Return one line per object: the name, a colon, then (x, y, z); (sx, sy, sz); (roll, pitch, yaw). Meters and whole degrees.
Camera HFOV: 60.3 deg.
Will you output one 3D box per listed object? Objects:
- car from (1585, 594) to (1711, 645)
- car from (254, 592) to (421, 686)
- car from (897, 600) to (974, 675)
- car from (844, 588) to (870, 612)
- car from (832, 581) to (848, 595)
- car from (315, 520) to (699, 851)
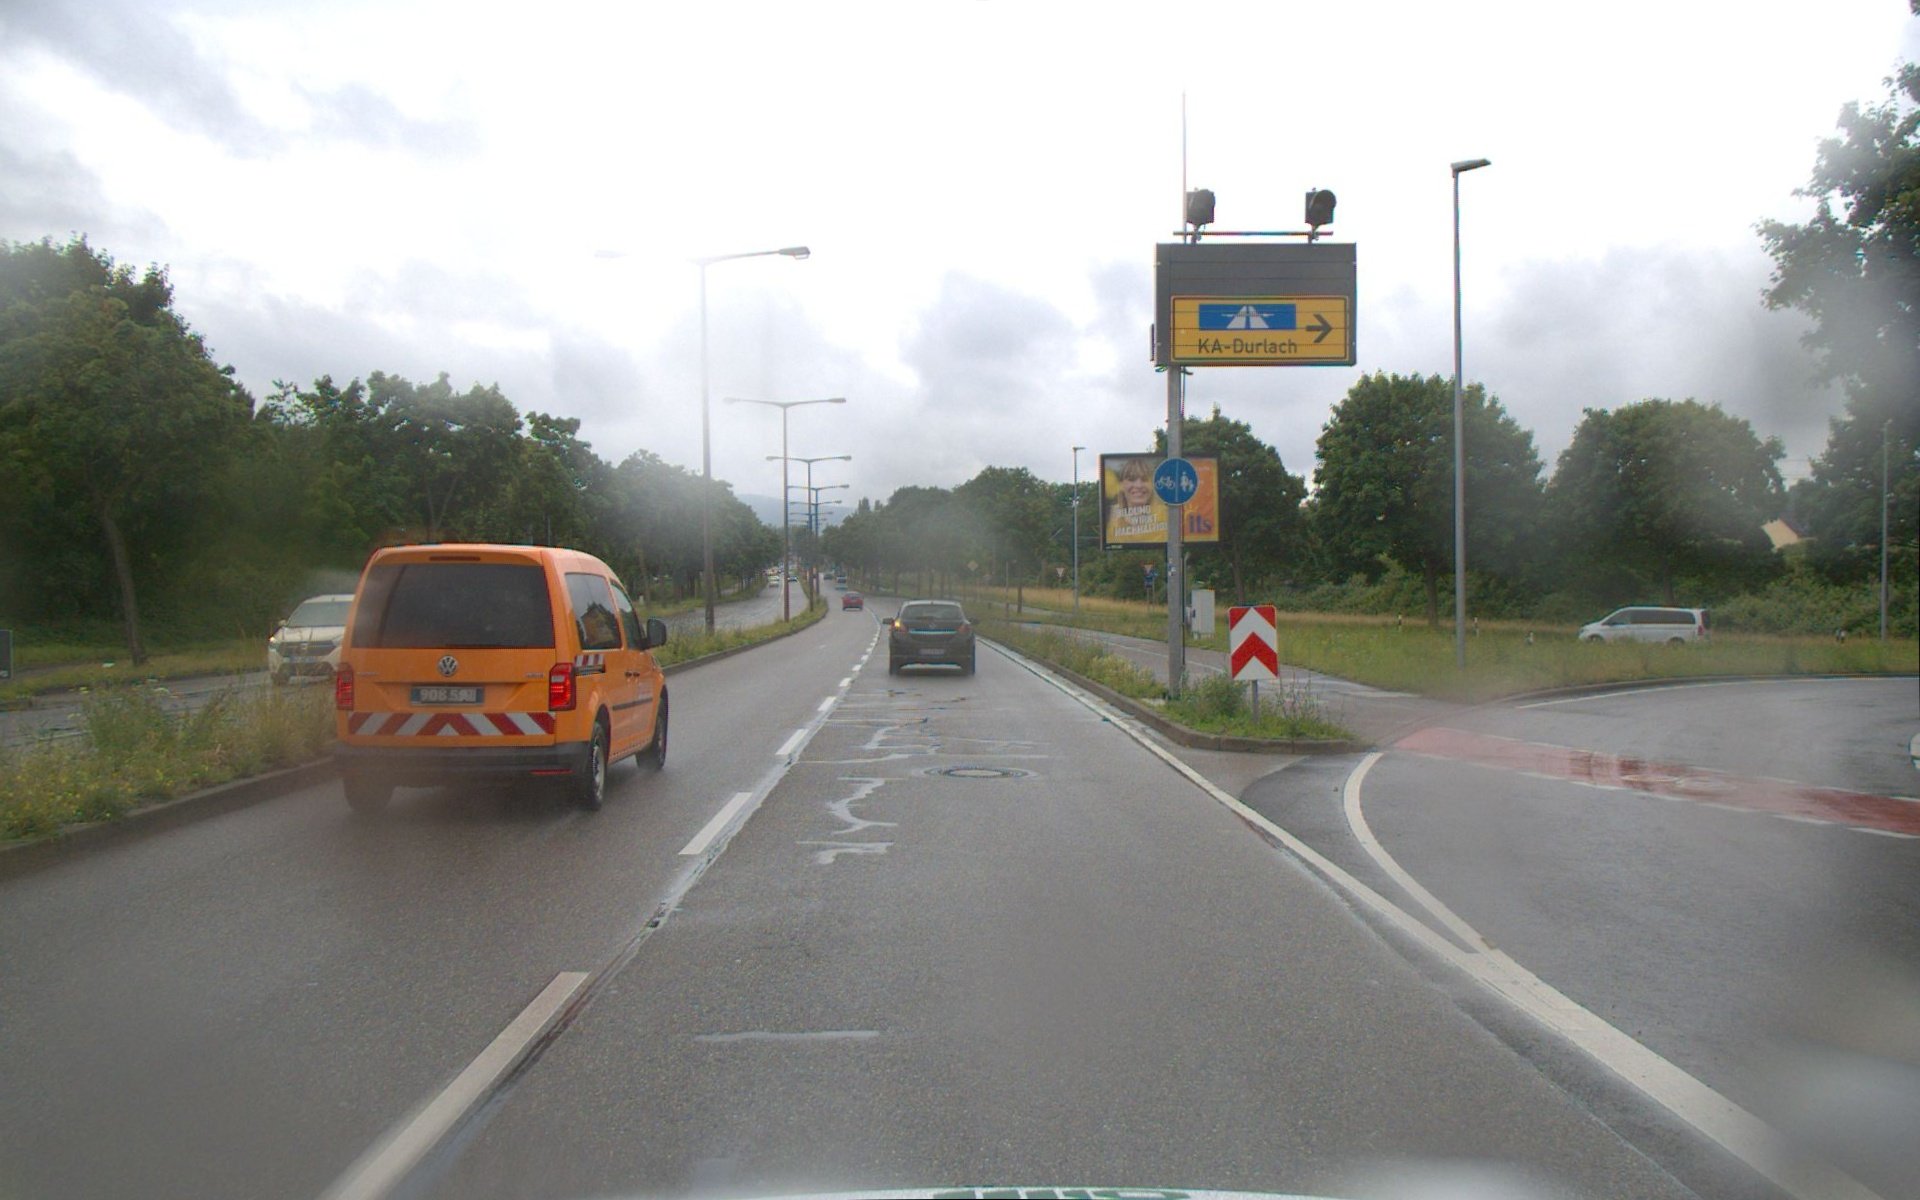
car: (27.896, 0.770, 67.100); (4.508, 2.009, 2.061); (0, 0, 31)
car: (-12.200, 0.704, 32.734); (1.673, 1.658, 4.490); (-3, 0, -2)
car: (-0.521, 0.700, 32.893); (1.433, 1.352, 3.756); (0, 1, -2)
car: (-8.322, -0.003, 134.045); (1.953, 1.912, 3.998); (0, 0, -2)
car: (-18.690, -1.912, 257.241); (2.467, 2.088, 5.287); (-1, 0, -5)
car: (-3.219, 0.535, 12.791); (1.699, 2.054, 4.848); (-1, 0, -1)
